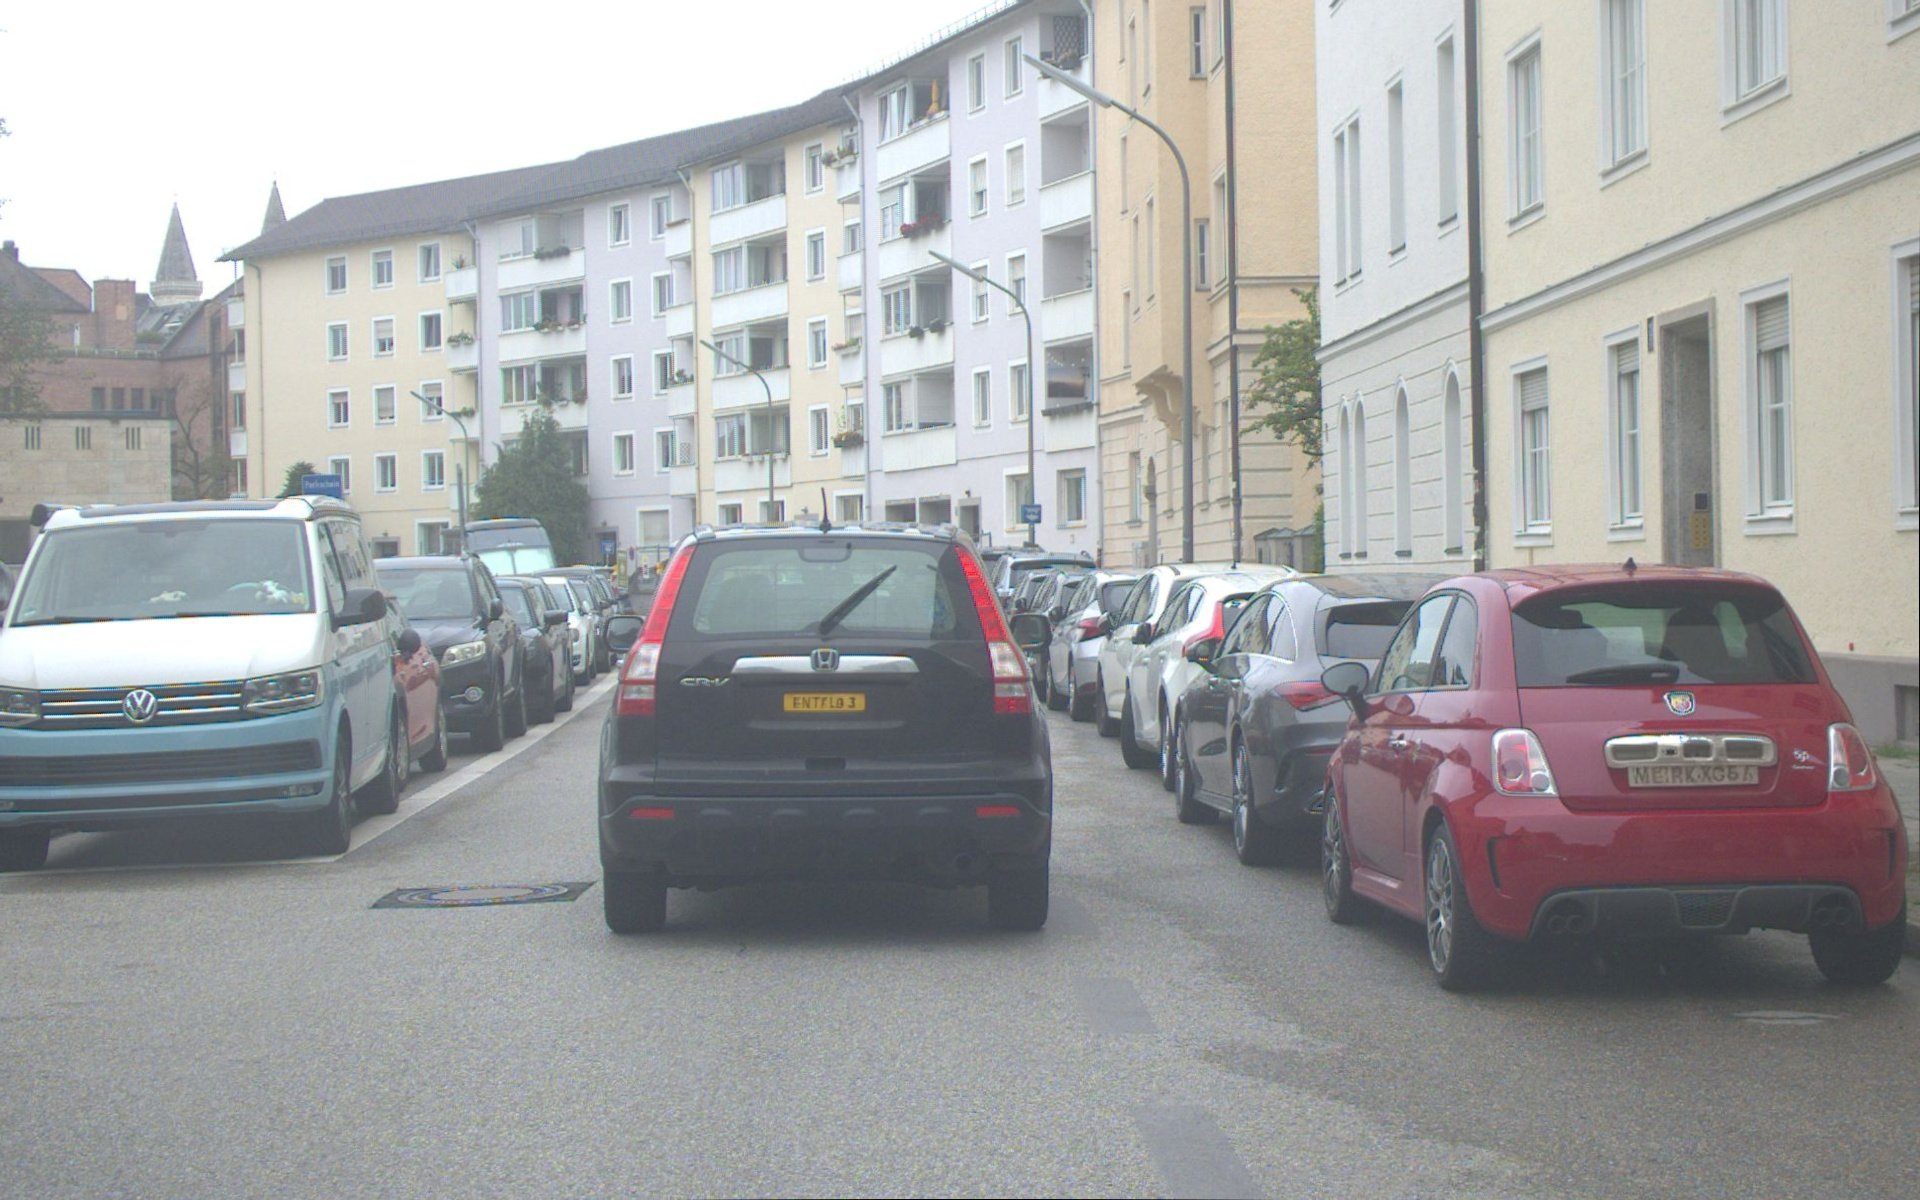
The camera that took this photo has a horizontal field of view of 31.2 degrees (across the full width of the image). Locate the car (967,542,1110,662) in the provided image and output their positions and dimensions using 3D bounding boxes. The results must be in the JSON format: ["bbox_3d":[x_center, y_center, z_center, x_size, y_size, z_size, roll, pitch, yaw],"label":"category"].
[{"bbox_3d":[1.073,-0.001,49.107,1.722,1.628,4.458,0,1,-3],"label":"car"}]

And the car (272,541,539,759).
[{"bbox_3d":[-4.782,0.378,30.202,1.743,1.660,4.449,-4,1,-3],"label":"car"}]

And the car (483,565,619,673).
[{"bbox_3d":[-6.045,0.248,51.208,1.754,1.448,4.397,-2,1,-4],"label":"car"}]

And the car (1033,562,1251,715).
[{"bbox_3d":[1.738,0.337,34.115,1.679,1.422,4.167,0,1,-4],"label":"car"}]

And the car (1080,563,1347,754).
[{"bbox_3d":[2.053,0.437,28.880,1.679,1.476,4.167,0,1,-4],"label":"car"}]

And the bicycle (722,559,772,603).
[{"bbox_3d":[-6.674,-0.599,107.743,0.968,1.384,2.564,0,1,-18],"label":"bicycle"}]

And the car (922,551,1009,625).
[{"bbox_3d":[0.091,-0.260,71.041,1.708,1.442,3.830,1,1,-1],"label":"car"}]

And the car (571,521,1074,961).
[{"bbox_3d":[-0.701,0.507,14.944,1.890,1.642,3.992,0,1,-5],"label":"car"}]

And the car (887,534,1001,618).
[{"bbox_3d":[-0.384,-0.541,76.217,1.777,1.800,4.277,1,1,-10],"label":"car"}]

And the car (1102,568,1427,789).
[{"bbox_3d":[2.048,0.483,24.297,1.679,1.405,4.443,0,1,-3],"label":"car"}]

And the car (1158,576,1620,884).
[{"bbox_3d":[2.127,0.589,18.212,1.679,1.405,4.422,0,1,-3],"label":"car"}]

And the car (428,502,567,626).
[{"bbox_3d":[-10.458,-0.827,77.399,2.163,2.632,6.019,-2,1,-16],"label":"car"}]

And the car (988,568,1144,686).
[{"bbox_3d":[1.315,0.313,44.031,1.679,1.422,4.087,0,1,-3],"label":"car"}]

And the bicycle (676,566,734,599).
[{"bbox_3d":[-8.550,-0.590,115.373,1.865,1.087,0.566,0,0,-24],"label":"bicycle"}]

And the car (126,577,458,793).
[{"bbox_3d":[-4.686,0.549,24.615,1.743,1.382,3.919,0,1,-2],"label":"car"}]

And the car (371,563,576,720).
[{"bbox_3d":[-4.933,0.380,35.272,1.680,1.448,3.870,-2,1,-3],"label":"car"}]

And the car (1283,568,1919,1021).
[{"bbox_3d":[2.370,0.630,13.378,1.679,1.492,3.824,0,1,-3],"label":"car"}]

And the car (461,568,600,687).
[{"bbox_3d":[-5.748,0.338,46.346,1.656,1.448,4.074,-2,1,-5],"label":"car"}]

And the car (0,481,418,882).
[{"bbox_3d":[-4.330,0.387,19.877,1.928,1.972,5.023,-2,1,-5],"label":"car"}]

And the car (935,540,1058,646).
[{"bbox_3d":[0.579,-0.138,59.010,1.869,1.711,4.866,1,1,-2],"label":"car"}]
